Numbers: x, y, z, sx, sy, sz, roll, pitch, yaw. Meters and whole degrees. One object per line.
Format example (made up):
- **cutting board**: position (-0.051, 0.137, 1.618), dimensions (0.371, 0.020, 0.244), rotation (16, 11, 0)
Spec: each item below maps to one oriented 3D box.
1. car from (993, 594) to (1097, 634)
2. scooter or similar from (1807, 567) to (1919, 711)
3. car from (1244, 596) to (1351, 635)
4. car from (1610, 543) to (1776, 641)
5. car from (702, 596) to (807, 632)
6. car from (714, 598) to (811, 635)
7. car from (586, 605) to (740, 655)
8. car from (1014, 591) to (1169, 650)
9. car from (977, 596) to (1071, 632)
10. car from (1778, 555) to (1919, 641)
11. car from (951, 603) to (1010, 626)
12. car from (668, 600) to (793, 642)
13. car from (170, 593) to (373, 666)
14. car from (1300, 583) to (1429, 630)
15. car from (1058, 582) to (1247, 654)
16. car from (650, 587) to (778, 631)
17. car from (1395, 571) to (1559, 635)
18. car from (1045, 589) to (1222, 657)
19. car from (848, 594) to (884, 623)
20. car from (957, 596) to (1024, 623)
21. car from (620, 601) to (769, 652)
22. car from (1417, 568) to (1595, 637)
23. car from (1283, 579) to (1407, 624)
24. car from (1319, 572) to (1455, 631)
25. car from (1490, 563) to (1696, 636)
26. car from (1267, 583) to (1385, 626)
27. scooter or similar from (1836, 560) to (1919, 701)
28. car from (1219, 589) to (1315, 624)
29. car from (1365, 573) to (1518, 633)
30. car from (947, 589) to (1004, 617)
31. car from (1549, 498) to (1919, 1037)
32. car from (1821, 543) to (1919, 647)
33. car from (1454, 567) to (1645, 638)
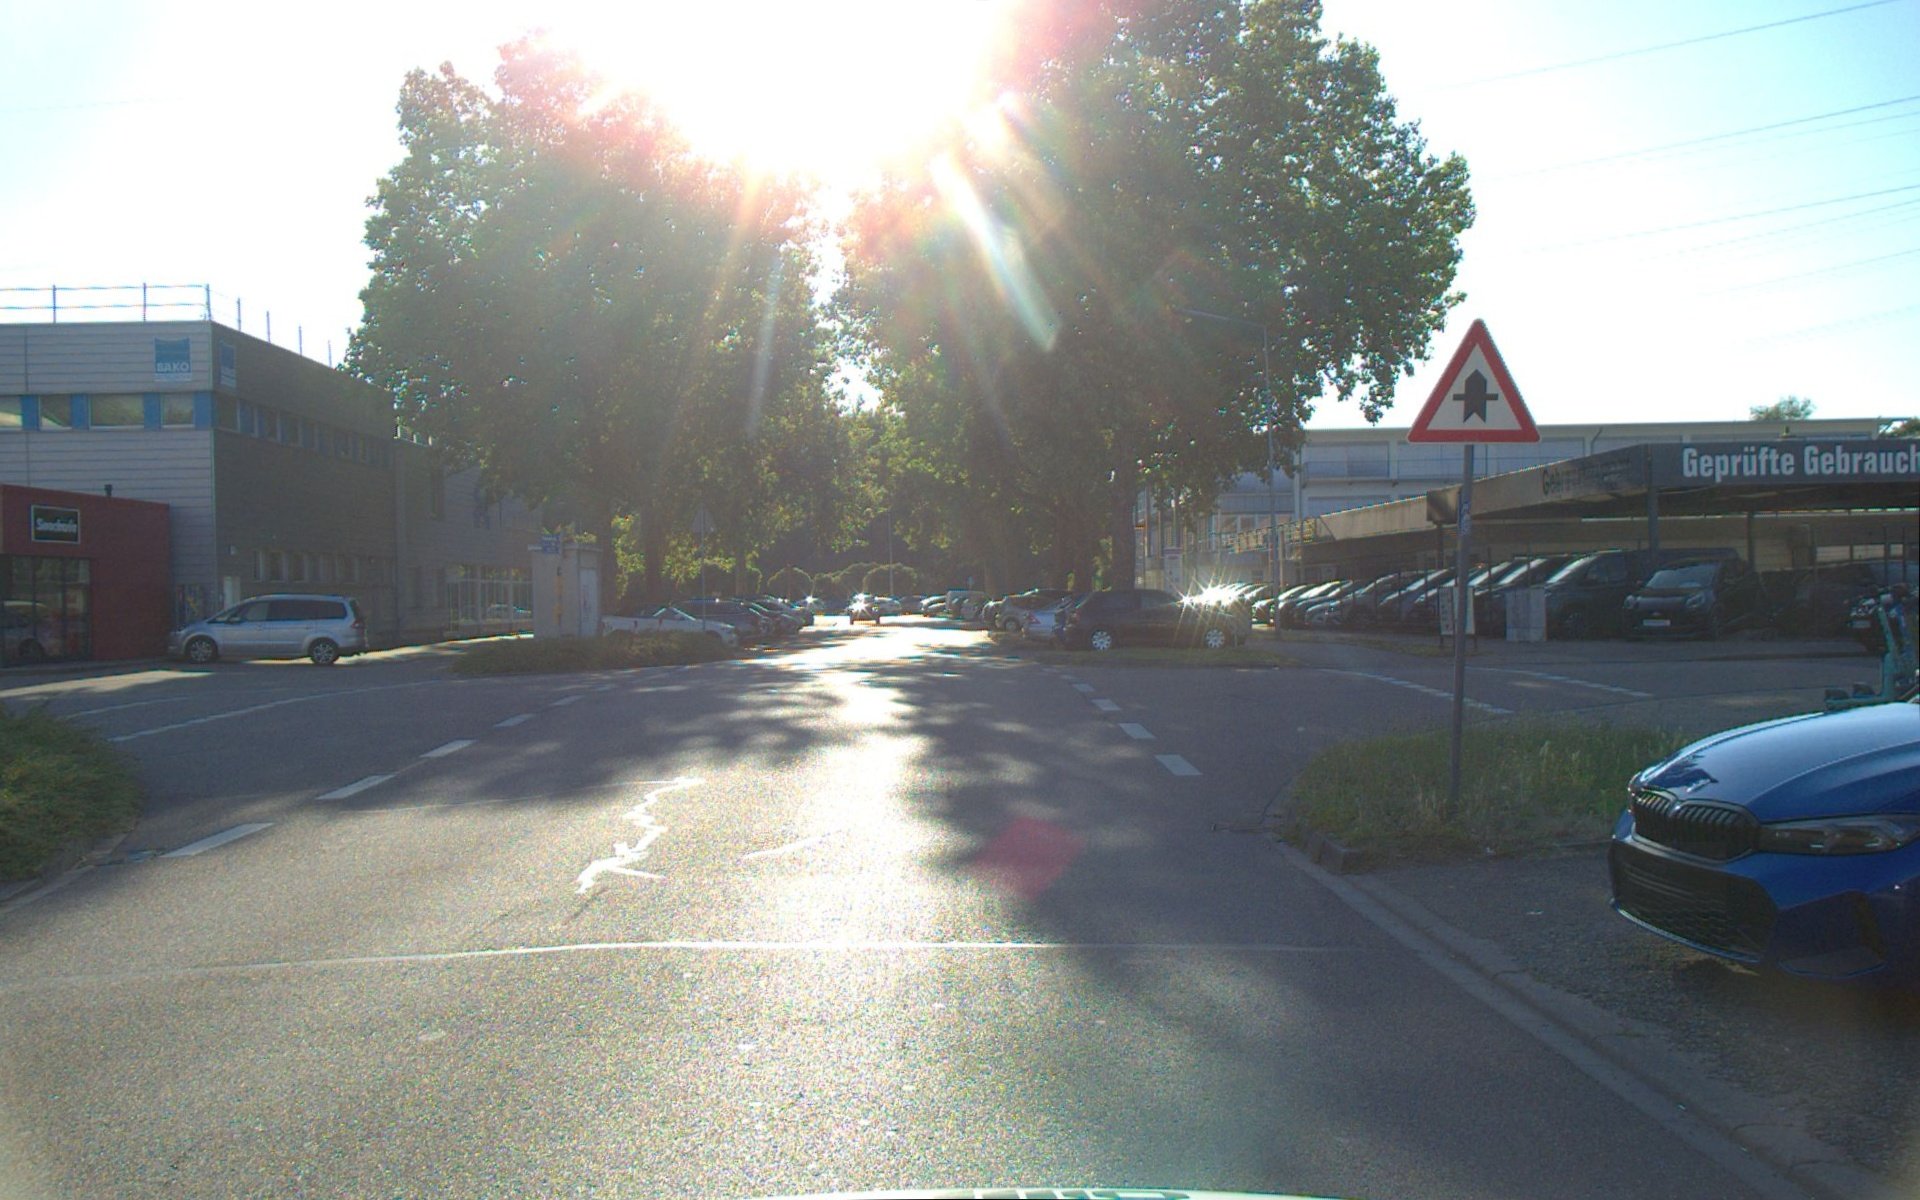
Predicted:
- **car**: position (3.306, 0.556, 64.936), dimensions (3.906, 1.440, 1.826), rotation (-2, 0, -2)
- **scooter or similar**: position (8.693, 0.363, 15.842), dimensions (0.433, 1.321, 1.294), rotation (0, 0, -4)
- **car**: position (13.689, 0.629, 67.235), dimensions (3.907, 1.530, 1.999), rotation (0, 0, -3)
- **car**: position (14.846, -0.104, 33.413), dimensions (1.905, 1.801, 3.976), rotation (-4, -4, 42)
- **car**: position (-8.984, 0.603, 72.511), dimensions (4.325, 1.543, 2.000), rotation (0, 0, 0)
- **car**: position (-9.236, 0.772, 77.562), dimensions (4.325, 1.727, 2.000), rotation (0, 0, 0)
- **car**: position (-8.666, 0.854, 48.620), dimensions (4.331, 1.427, 1.997), rotation (0, 0, -7)
- **car**: position (3.463, 0.539, 44.057), dimensions (3.906, 1.440, 1.826), rotation (-2, 0, -2)
- **car**: position (2.727, 0.607, 70.900), dimensions (3.906, 1.405, 1.826), rotation (-2, 0, -2)
- **car**: position (18.508, -0.024, 33.280), dimensions (1.954, 1.630, 3.997), rotation (-1, -1, -3)
- **car**: position (1.352, 0.969, 112.029), dimensions (3.906, 1.440, 1.826), rotation (-2, 0, -2)
- **car**: position (-8.472, 0.771, 61.366), dimensions (4.325, 1.543, 2.000), rotation (0, 0, 0)
- **car**: position (-17.364, 0.725, 41.949), dimensions (4.556, 1.771, 1.990), rotation (0, 0, -18)
- **car**: position (13.777, 0.215, 56.452), dimensions (3.907, 1.573, 1.999), rotation (0, 0, -3)
- **car**: position (4.224, 0.390, 36.736), dimensions (3.906, 1.440, 1.999), rotation (-2, 0, -2)
- **car**: position (-8.615, 0.316, 58.236), dimensions (4.329, 1.543, 1.998), rotation (0, 0, -5)
- **car**: position (14.286, 0.078, 45.874), dimensions (3.907, 1.730, 1.999), rotation (0, 0, -3)
- **car**: position (4.045, 0.531, 39.019), dimensions (3.906, 1.440, 1.999), rotation (-2, 0, -2)
- **car**: position (-5.447, 0.494, 96.146), dimensions (1.953, 1.637, 3.999), rotation (1, 0, -1)
- **car**: position (1.833, 0.571, 99.497), dimensions (3.906, 1.440, 1.826), rotation (-2, 0, -2)
- **car**: position (-8.165, 0.801, 51.100), dimensions (4.327, 1.543, 1.999), rotation (0, 0, -3)
- **car**: position (14.020, 0.059, 42.617), dimensions (3.907, 1.730, 1.999), rotation (0, 0, -3)
- **car**: position (13.674, 0.058, 58.887), dimensions (3.907, 1.573, 1.999), rotation (0, 0, -3)
- **car**: position (13.877, 0.056, 53.902), dimensions (3.907, 1.864, 1.999), rotation (0, 0, -3)
- **car**: position (14.300, -0.005, 37.506), dimensions (3.907, 1.596, 1.999), rotation (0, 0, -3)
- **car**: position (13.595, 0.180, 61.612), dimensions (3.907, 1.573, 1.999), rotation (0, 0, -3)
- **scooter or similar**: position (9.175, 0.290, 16.206), dimensions (0.433, 1.321, 1.294), rotation (0, 0, -4)
- **car**: position (13.788, 0.296, 74.482), dimensions (3.907, 1.573, 1.999), rotation (0, 0, -3)
- **car**: position (14.130, 0.093, 48.654), dimensions (3.907, 1.730, 1.999), rotation (0, 0, -3)
- **car**: position (1.061, 0.215, 115.472), dimensions (3.906, 1.808, 1.826), rotation (-2, 0, -2)
- **car**: position (4.830, 0.416, 6.368), dimensions (4.436, 1.702, 1.751), rotation (-4, 0, -5)
- **car**: position (16.889, -0.090, 27.674), dimensions (3.908, 1.633, 1.998), rotation (-1, -3, -4)
- **car**: position (14.235, 0.063, 40.070), dimensions (3.907, 1.663, 1.999), rotation (0, 0, -3)
